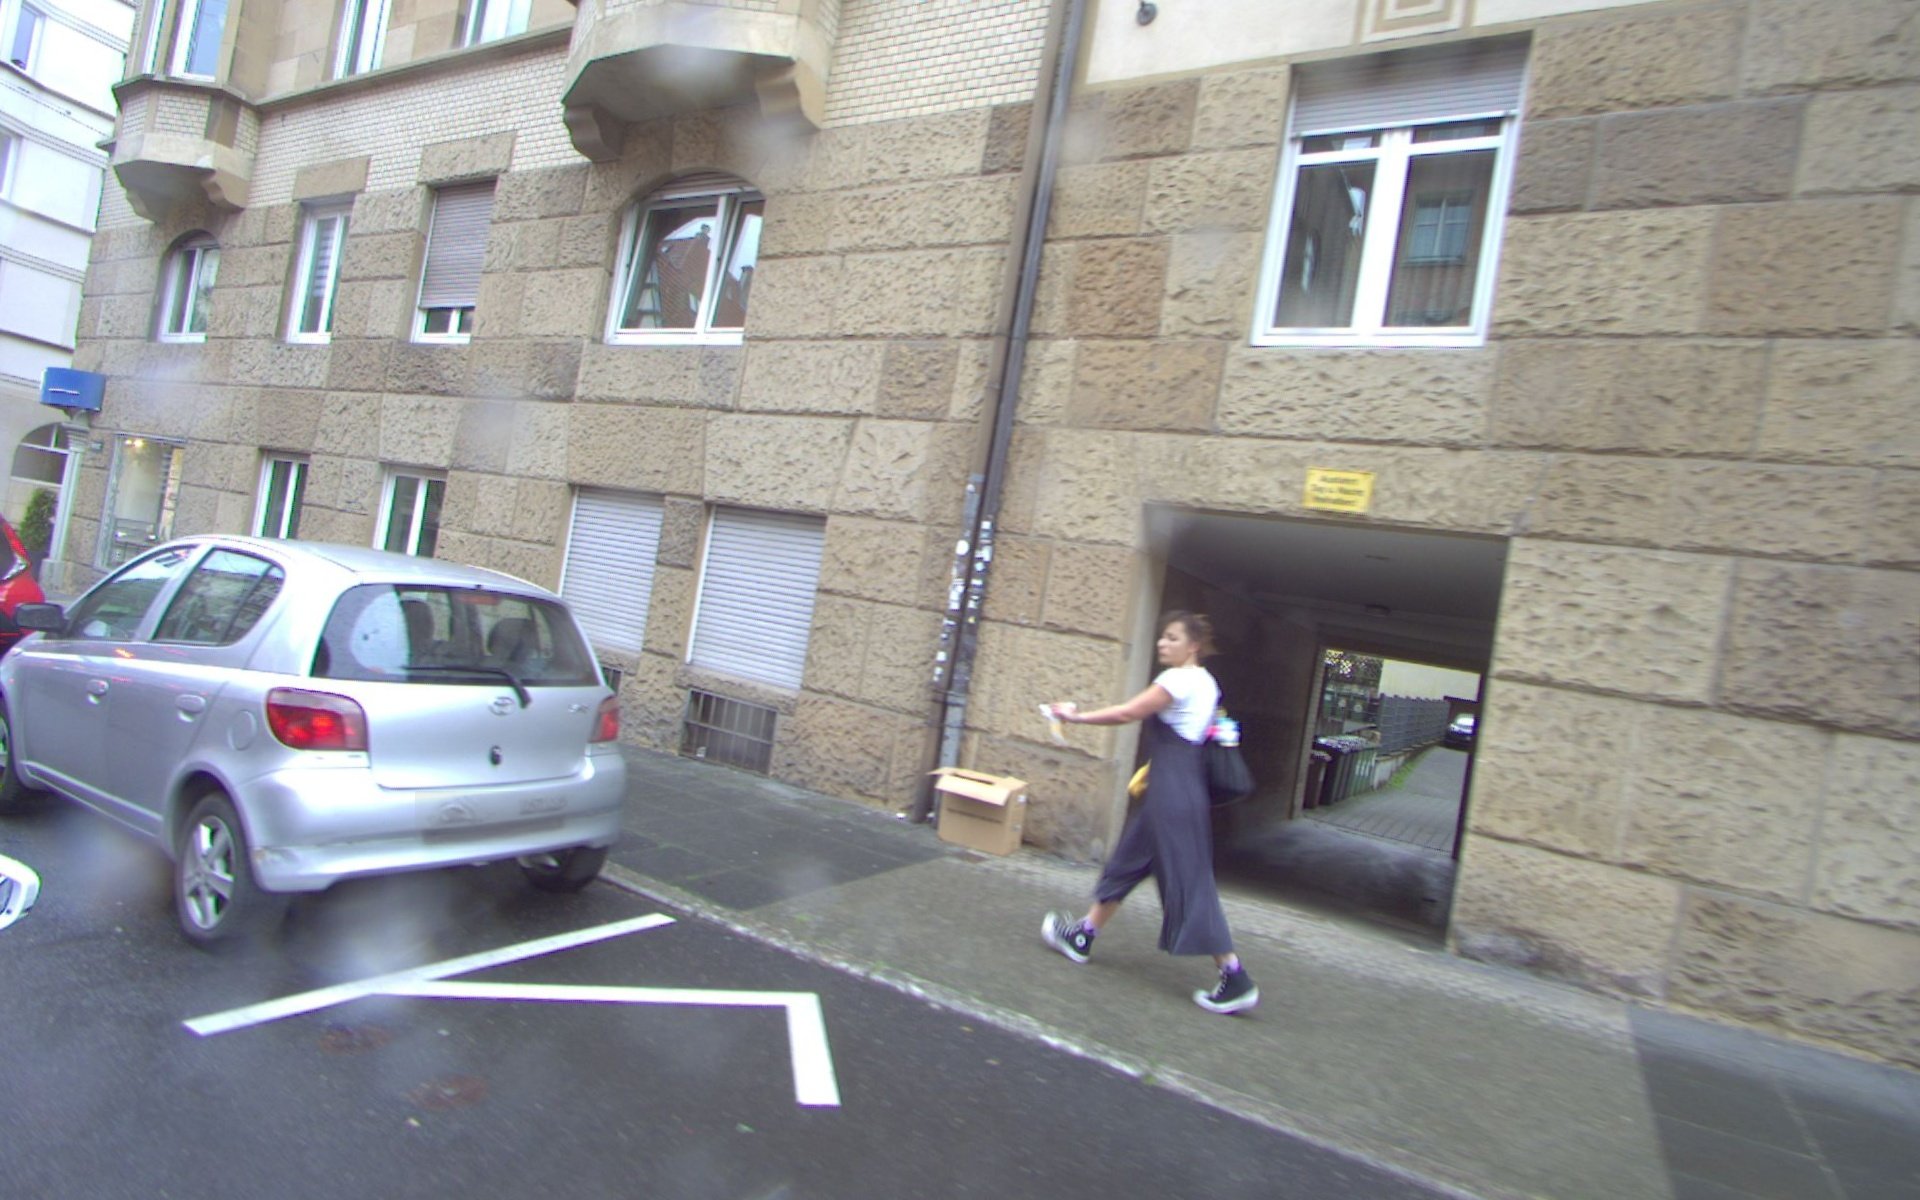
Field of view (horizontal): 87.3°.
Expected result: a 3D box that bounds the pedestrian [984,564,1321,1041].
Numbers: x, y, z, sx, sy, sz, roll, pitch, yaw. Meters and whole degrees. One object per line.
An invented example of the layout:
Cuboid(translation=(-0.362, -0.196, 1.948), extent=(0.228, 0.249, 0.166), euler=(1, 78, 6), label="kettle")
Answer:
Cuboid(translation=(0.864, 0.803, 4.479), extent=(1.093, 1.768, 0.743), euler=(6, -1, 32), label="pedestrian")

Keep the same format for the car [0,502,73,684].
Cuboid(translation=(-9.415, -0.268, 8.604), extent=(3.243, 1.464, 1.646), euler=(7, -2, 29), label="car")

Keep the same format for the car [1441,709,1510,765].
Cuboid(translation=(17.656, 4.664, 34.365), extent=(1.693, 1.538, 4.102), euler=(7, -3, 31), label="car")

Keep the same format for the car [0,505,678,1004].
Cuboid(translation=(-3.167, 0.480, 4.825), extent=(3.258, 1.485, 1.616), euler=(7, -1, 33), label="car")
